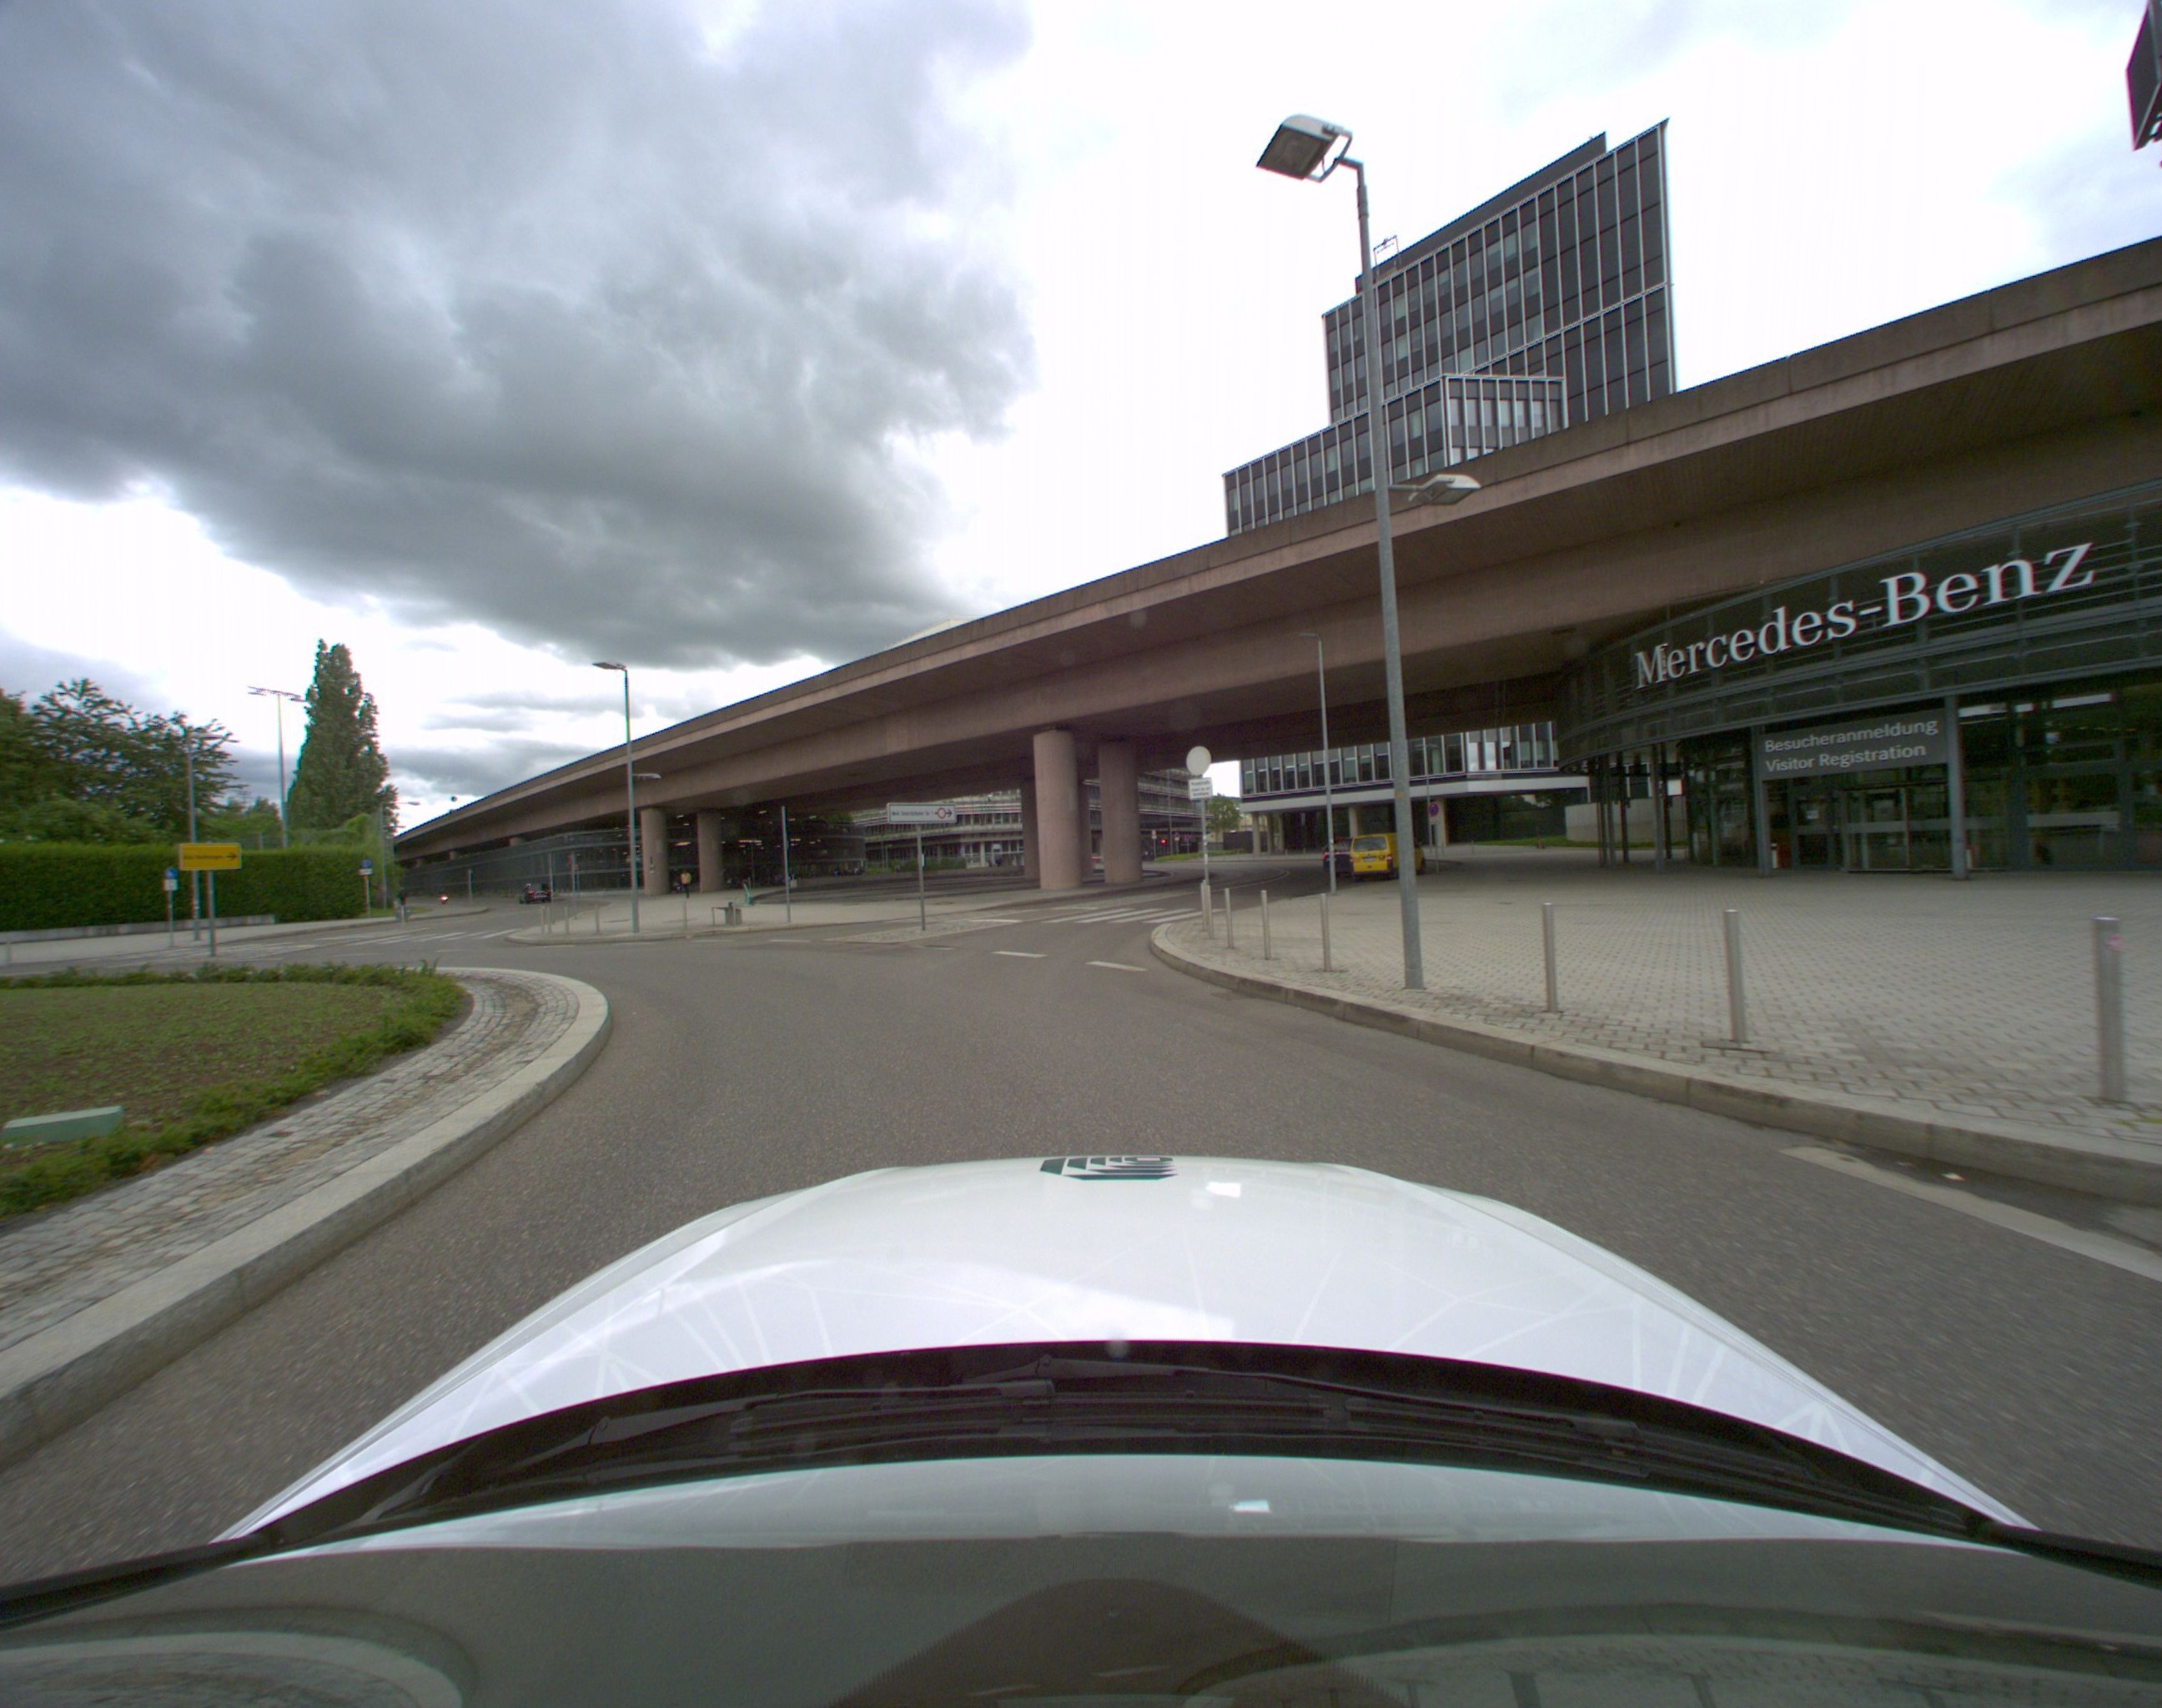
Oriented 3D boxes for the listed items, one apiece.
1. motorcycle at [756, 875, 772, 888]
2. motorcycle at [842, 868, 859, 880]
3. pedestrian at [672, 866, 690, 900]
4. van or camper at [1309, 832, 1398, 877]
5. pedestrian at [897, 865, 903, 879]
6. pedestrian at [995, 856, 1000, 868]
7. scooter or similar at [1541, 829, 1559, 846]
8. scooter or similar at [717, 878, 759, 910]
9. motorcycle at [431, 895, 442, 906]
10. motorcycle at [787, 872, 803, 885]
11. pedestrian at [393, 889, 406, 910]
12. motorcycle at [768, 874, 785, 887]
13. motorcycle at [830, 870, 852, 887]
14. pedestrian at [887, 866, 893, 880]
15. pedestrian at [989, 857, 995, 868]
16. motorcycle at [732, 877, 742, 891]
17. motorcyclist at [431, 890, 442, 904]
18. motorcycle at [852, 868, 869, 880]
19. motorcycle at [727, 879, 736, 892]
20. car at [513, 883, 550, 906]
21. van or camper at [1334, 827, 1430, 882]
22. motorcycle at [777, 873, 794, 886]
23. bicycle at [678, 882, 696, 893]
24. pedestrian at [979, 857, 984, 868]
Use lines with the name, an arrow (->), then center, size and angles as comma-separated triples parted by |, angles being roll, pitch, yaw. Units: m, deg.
motorcycle -> -31.221, 2.693, 80.203 | 0.678, 1.220, 2.053 | -3, 1, -45
motorcycle -> -24.936, 2.197, 88.216 | 0.678, 1.275, 2.334 | -3, 1, -45
pedestrian -> -25.018, 1.806, 50.972 | 0.788, 2.013, 1.029 | -3, 1, -33
van or camper -> 13.208, 0.011, 39.261 | 2.127, 1.892, 4.932 | -2, 1, 44
pedestrian -> -27.284, 2.739, 122.733 | 0.531, 2.014, 0.567 | -2, -1, -38
pedestrian -> -11.356, 1.089, 110.863 | 0.491, 1.481, 0.547 | -3, 1, 13
scooter or similar -> 31.353, -1.134, 54.448 | 0.693, 1.105, 1.508 | -2, 1, 15
scooter or similar -> -15.487, 1.794, 36.813 | 1.655, 1.295, 0.513 | -3, 1, -31
motorcycle -> -68.587, 4.937, 86.711 | 0.753, 1.022, 1.933 | -3, 1, -42
motorcycle -> -28.906, 2.483, 82.268 | 0.678, 1.286, 2.053 | -3, 1, -45
pedestrian -> -62.297, 4.133, 74.432 | 0.811, 1.780, 0.909 | -3, 1, -41
motorcycle -> -30.251, 2.626, 80.920 | 0.678, 1.220, 2.053 | -3, 1, -45
motorcycle -> -19.808, 1.999, 67.278 | 0.541, 1.264, 1.952 | -2, 1, 23
pedestrian -> -28.766, 2.905, 122.533 | 0.531, 2.014, 0.567 | -2, -1, -38
pedestrian -> -12.125, 1.122, 110.996 | 0.491, 1.481, 0.547 | -3, 1, 13
motorcycle -> -33.112, 2.858, 78.402 | 0.833, 1.220, 2.062 | -3, 1, -23
motorcyclist -> -68.560, 4.538, 86.651 | 0.768, 1.419, 0.859 | -3, 1, -42
motorcycle -> -24.257, 2.195, 89.461 | 0.678, 1.220, 2.334 | -3, 1, -45
motorcycle -> -32.132, 2.895, 74.881 | 0.520, 1.171, 1.146 | -3, -2, -9
car -> -46.737, 3.411, 69.269 | 3.659, 1.711, 1.857 | -2, 1, 45
van or camper -> 12.940, -0.018, 34.889 | 2.332, 1.999, 4.534 | -5, -1, 40
motorcycle -> -29.591, 2.567, 81.554 | 0.678, 1.220, 2.053 | -3, 1, -45
bicycle -> -37.863, 3.227, 78.235 | 1.477, 0.976, 0.449 | -3, 1, -20
pedestrian -> -13.764, 1.192, 112.987 | 0.491, 1.481, 0.547 | -3, 1, 13
